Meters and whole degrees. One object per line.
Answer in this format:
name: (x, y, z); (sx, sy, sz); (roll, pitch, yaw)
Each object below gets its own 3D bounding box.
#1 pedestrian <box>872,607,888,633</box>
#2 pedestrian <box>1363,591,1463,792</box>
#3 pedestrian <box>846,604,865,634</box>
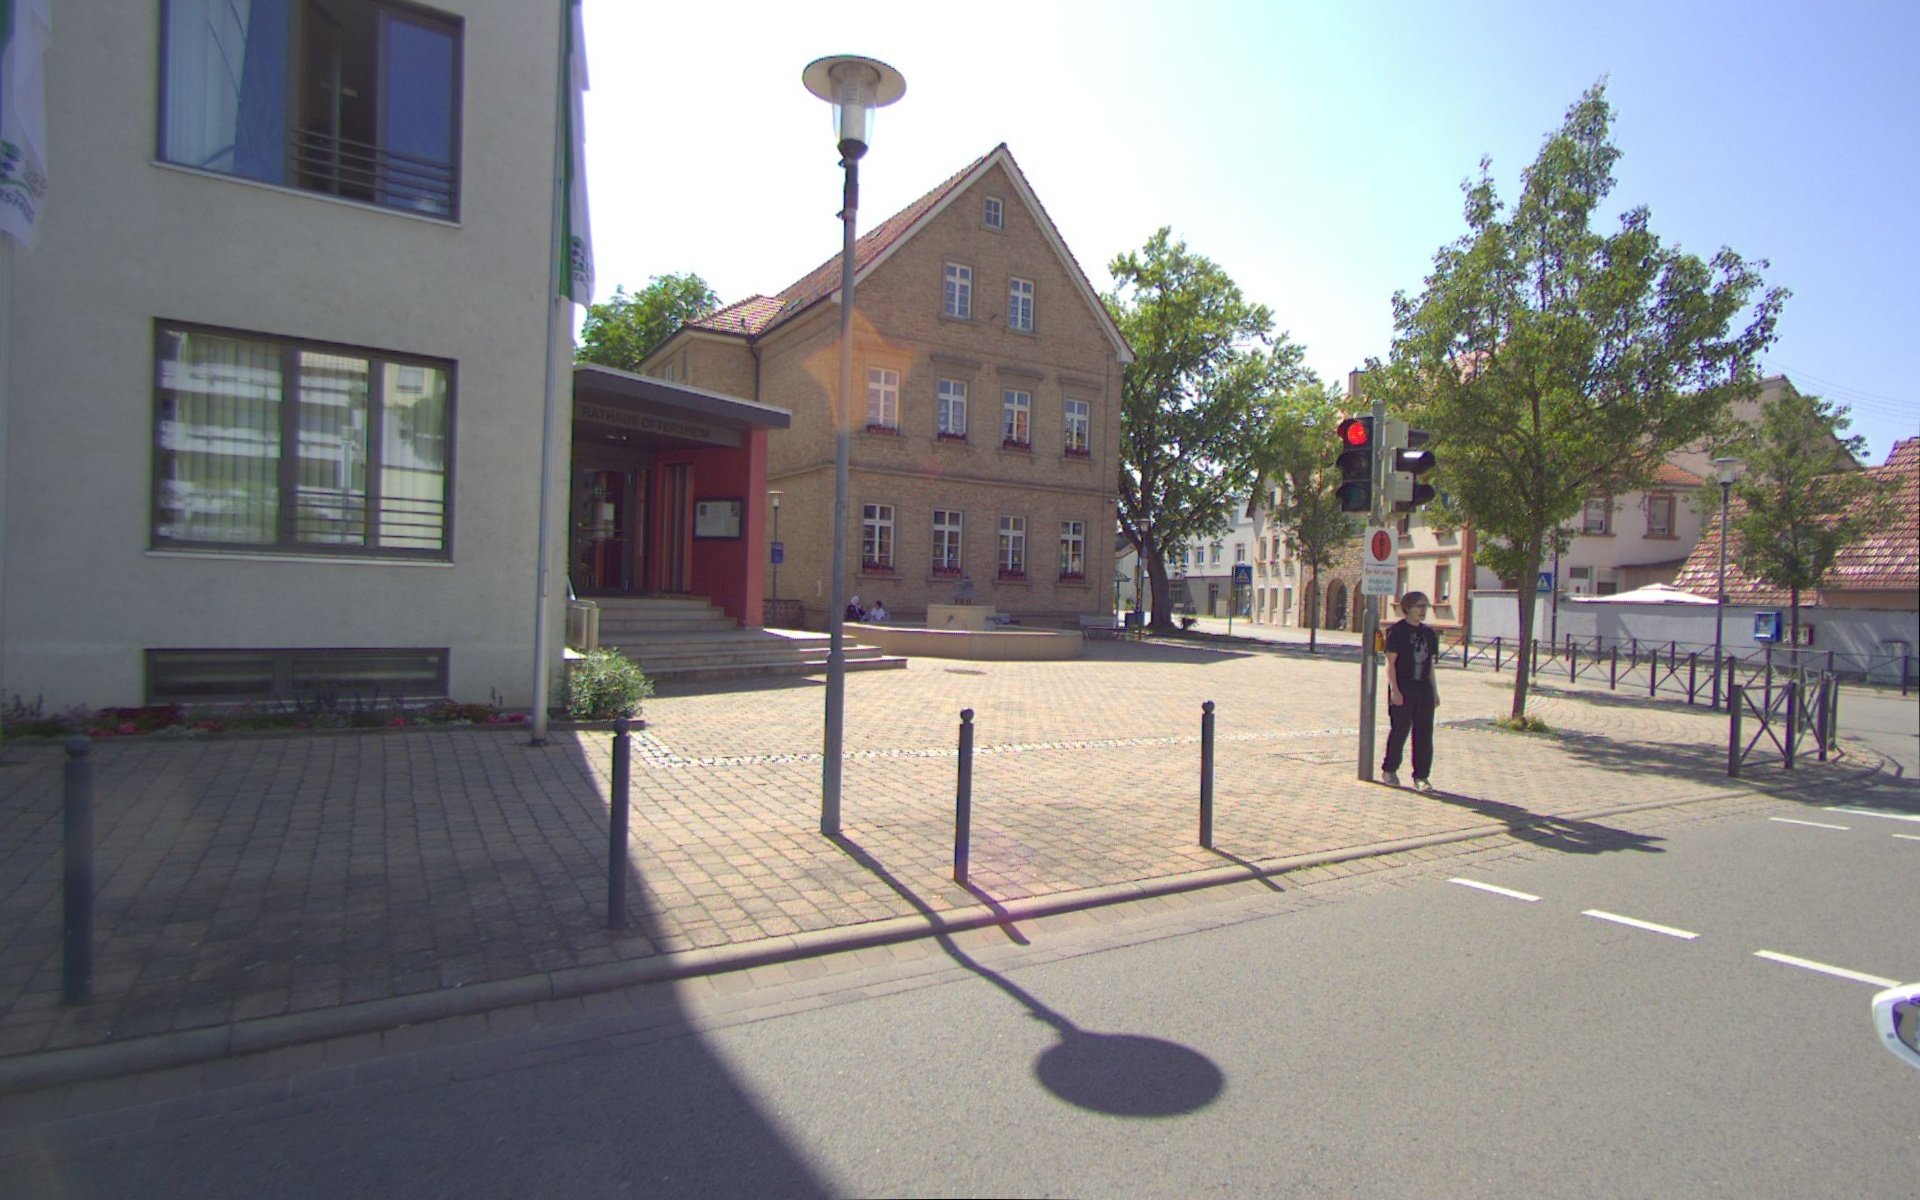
pedestrian: (-2.293, 0.578, 28.887); (0.352, 0.742, 0.288); (2, 0, 43)
pedestrian: (3.856, 0.757, 8.587); (0.546, 1.640, 0.550); (3, 0, 4)
pedestrian: (-2.948, 0.543, 28.391); (0.356, 0.828, 0.365); (2, 0, 42)
